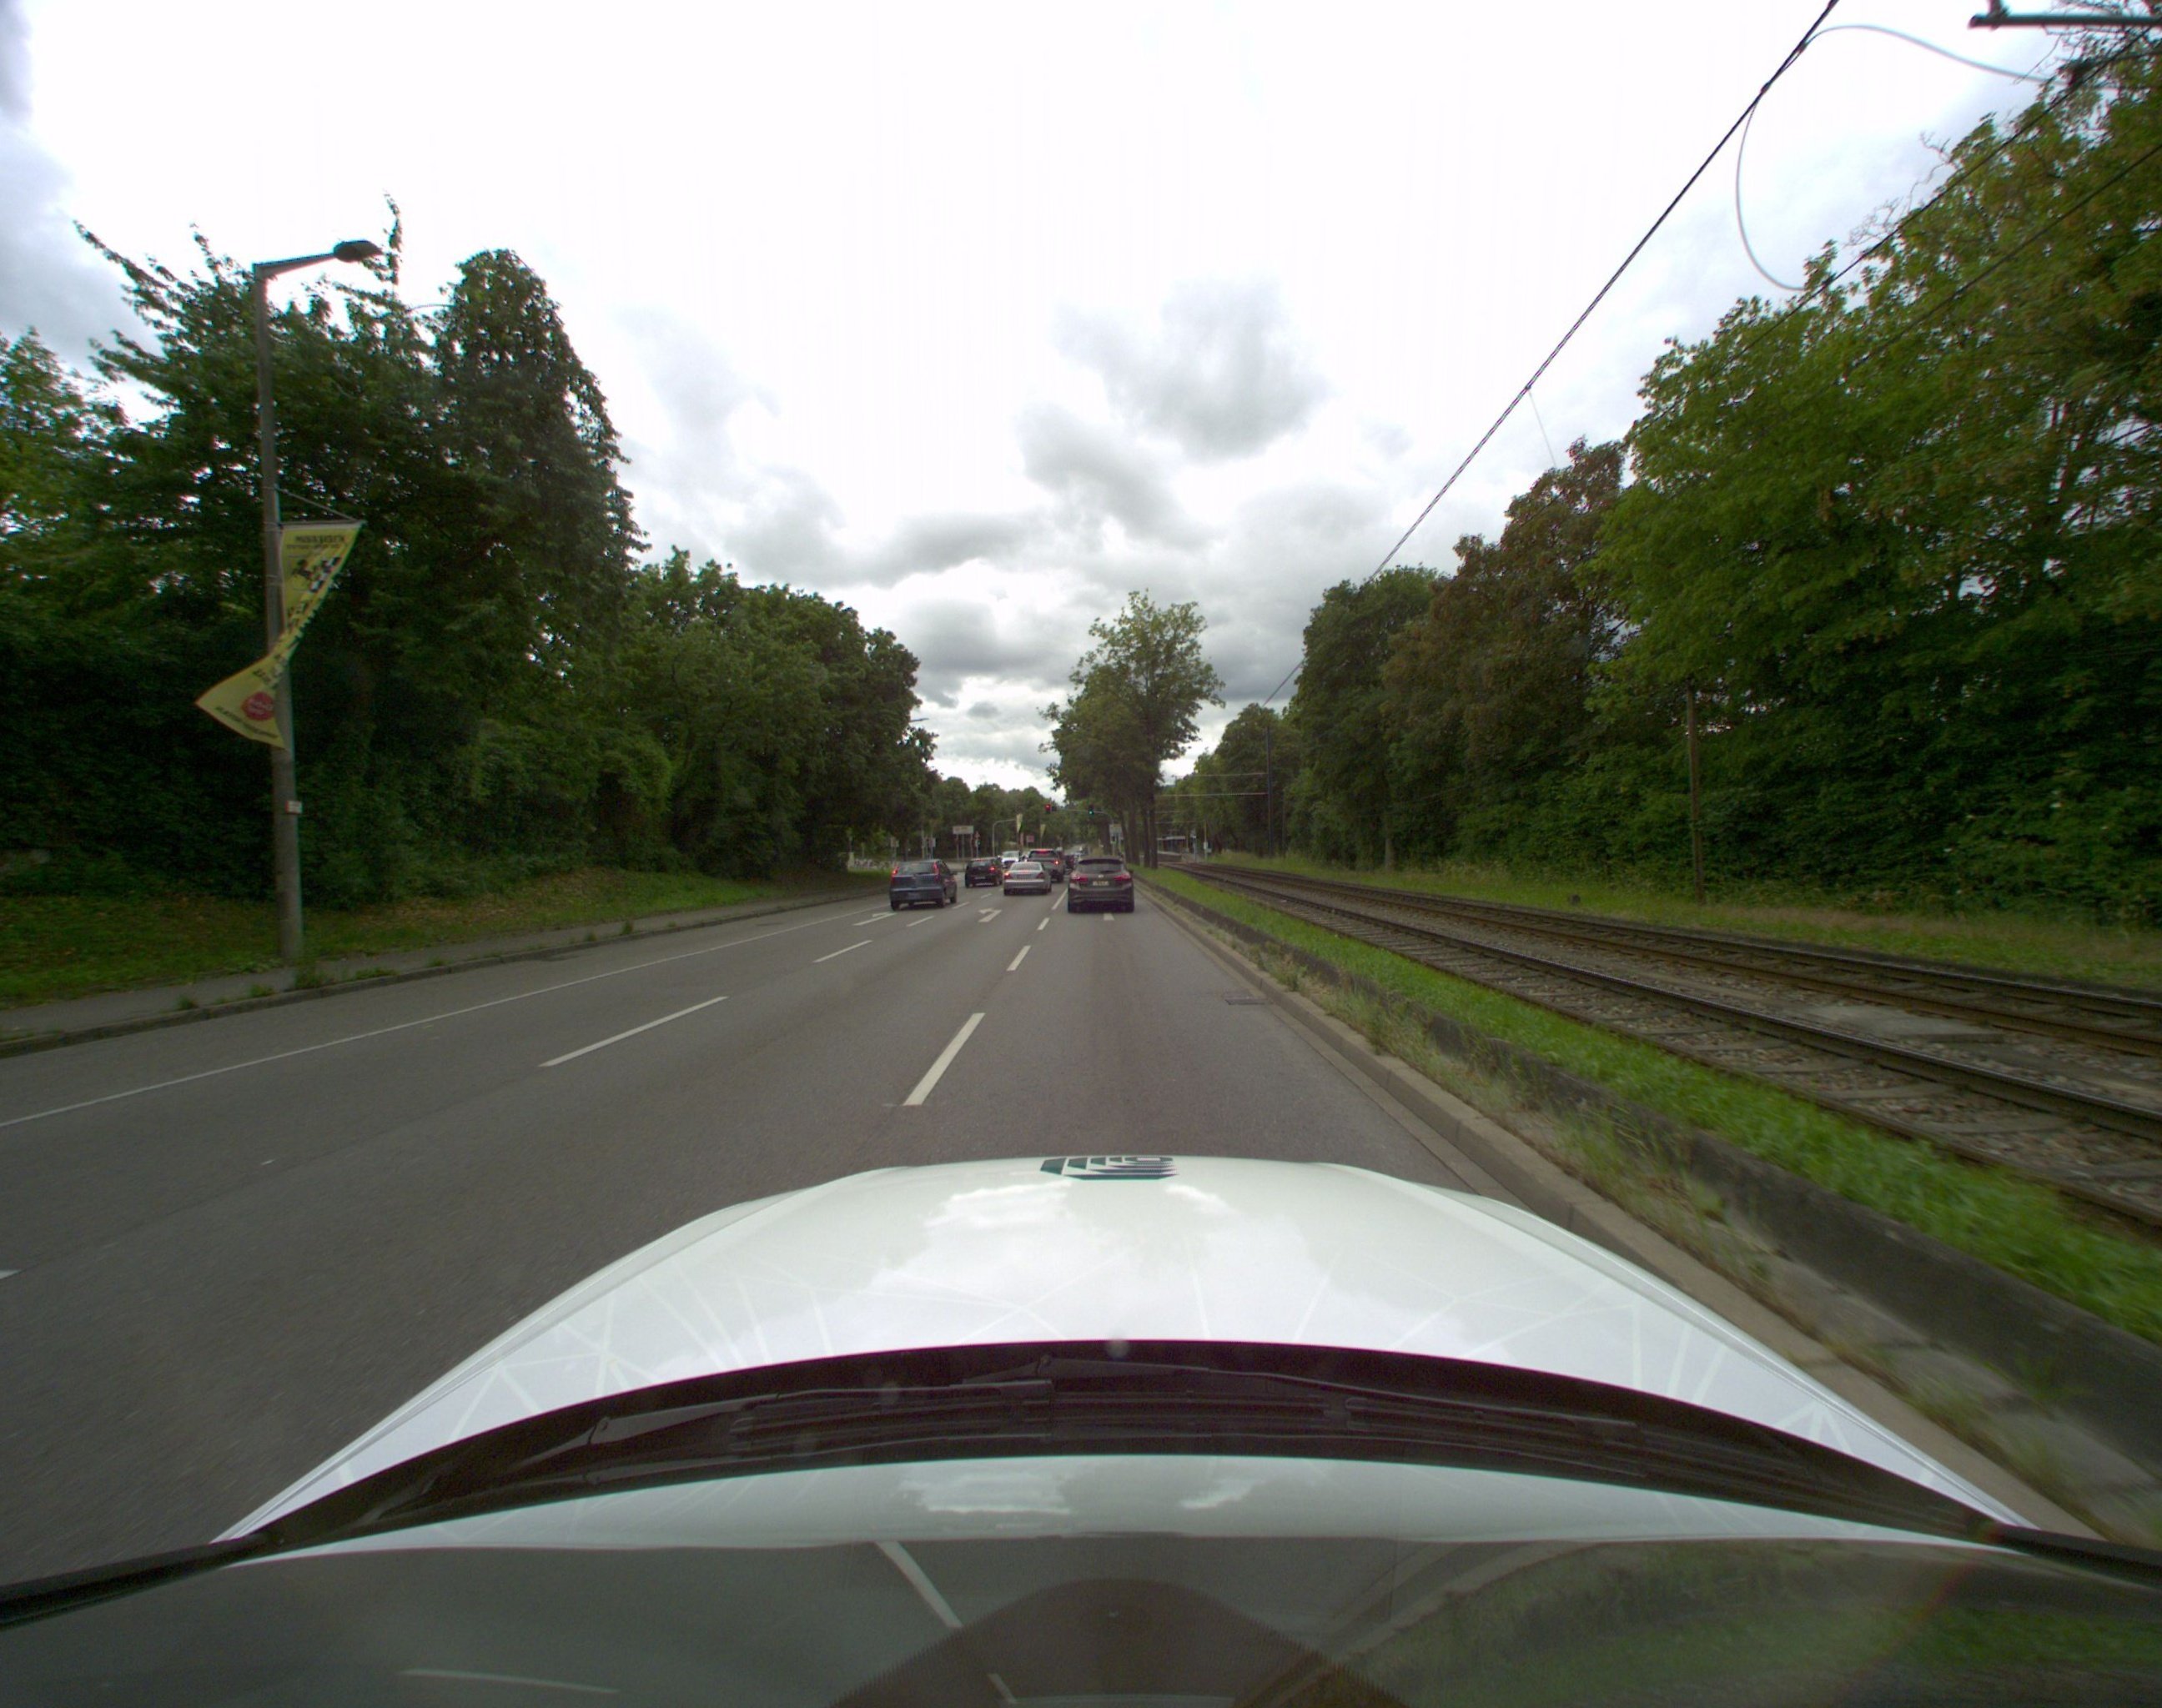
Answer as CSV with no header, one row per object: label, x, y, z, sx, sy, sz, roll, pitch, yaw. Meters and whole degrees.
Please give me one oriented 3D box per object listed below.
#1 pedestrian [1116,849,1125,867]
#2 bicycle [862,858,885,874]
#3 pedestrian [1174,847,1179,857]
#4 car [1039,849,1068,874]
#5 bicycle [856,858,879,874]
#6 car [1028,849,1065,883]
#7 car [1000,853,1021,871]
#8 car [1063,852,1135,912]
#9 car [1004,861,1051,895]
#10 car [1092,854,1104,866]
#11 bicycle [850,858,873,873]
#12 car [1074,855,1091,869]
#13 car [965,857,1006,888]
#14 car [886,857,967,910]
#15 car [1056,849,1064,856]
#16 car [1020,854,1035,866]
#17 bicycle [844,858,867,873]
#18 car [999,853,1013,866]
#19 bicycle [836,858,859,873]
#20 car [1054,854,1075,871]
pedestrian,4.006,0.372,82.387,0.748,1.737,0.841,-4,-1,5
bicycle,-17.372,1.007,68.333,0.539,1.252,1.947,0,-1,38
pedestrian,15.634,-0.334,133.623,0.715,1.511,0.724,1,-1,3
car,-2.034,0.545,61.897,1.900,1.843,5.282,-1,0,1
bicycle,-18.004,1.003,68.629,0.539,1.252,1.947,0,0,38
car,-1.858,0.675,45.317,1.797,1.795,4.504,0,0,1
car,-7.451,0.803,86.809,1.785,1.831,4.409,-2,0,0
car,0.550,0.723,22.904,1.830,1.528,3.931,0,0,2
car,-2.102,0.924,32.726,1.549,1.267,3.823,-1,0,1
car,2.230,0.793,108.170,1.497,1.528,3.673,0,0,2
bicycle,-18.581,0.999,68.888,0.539,1.252,1.947,0,-1,38
car,0.142,0.887,89.219,1.703,1.475,3.673,0,0,2
car,-4.911,0.919,42.426,1.551,1.466,3.808,-3,0,1
car,-4.797,0.879,25.766,1.585,1.468,3.931,-3,0,2
car,-5.727,-0.401,221.528,1.897,1.678,5.077,-1,0,-2
car,-7.377,0.825,111.973,1.733,1.539,3.911,0,0,1
bicycle,-19.276,0.996,69.618,0.539,1.252,1.947,0,-1,38
car,-10.545,0.741,114.913,1.940,1.811,4.437,0,0,-4
bicycle,-20.072,0.992,70.074,0.539,1.252,1.947,0,-1,38
car,-1.401,0.712,72.035,1.698,1.480,3.667,-1,0,1
